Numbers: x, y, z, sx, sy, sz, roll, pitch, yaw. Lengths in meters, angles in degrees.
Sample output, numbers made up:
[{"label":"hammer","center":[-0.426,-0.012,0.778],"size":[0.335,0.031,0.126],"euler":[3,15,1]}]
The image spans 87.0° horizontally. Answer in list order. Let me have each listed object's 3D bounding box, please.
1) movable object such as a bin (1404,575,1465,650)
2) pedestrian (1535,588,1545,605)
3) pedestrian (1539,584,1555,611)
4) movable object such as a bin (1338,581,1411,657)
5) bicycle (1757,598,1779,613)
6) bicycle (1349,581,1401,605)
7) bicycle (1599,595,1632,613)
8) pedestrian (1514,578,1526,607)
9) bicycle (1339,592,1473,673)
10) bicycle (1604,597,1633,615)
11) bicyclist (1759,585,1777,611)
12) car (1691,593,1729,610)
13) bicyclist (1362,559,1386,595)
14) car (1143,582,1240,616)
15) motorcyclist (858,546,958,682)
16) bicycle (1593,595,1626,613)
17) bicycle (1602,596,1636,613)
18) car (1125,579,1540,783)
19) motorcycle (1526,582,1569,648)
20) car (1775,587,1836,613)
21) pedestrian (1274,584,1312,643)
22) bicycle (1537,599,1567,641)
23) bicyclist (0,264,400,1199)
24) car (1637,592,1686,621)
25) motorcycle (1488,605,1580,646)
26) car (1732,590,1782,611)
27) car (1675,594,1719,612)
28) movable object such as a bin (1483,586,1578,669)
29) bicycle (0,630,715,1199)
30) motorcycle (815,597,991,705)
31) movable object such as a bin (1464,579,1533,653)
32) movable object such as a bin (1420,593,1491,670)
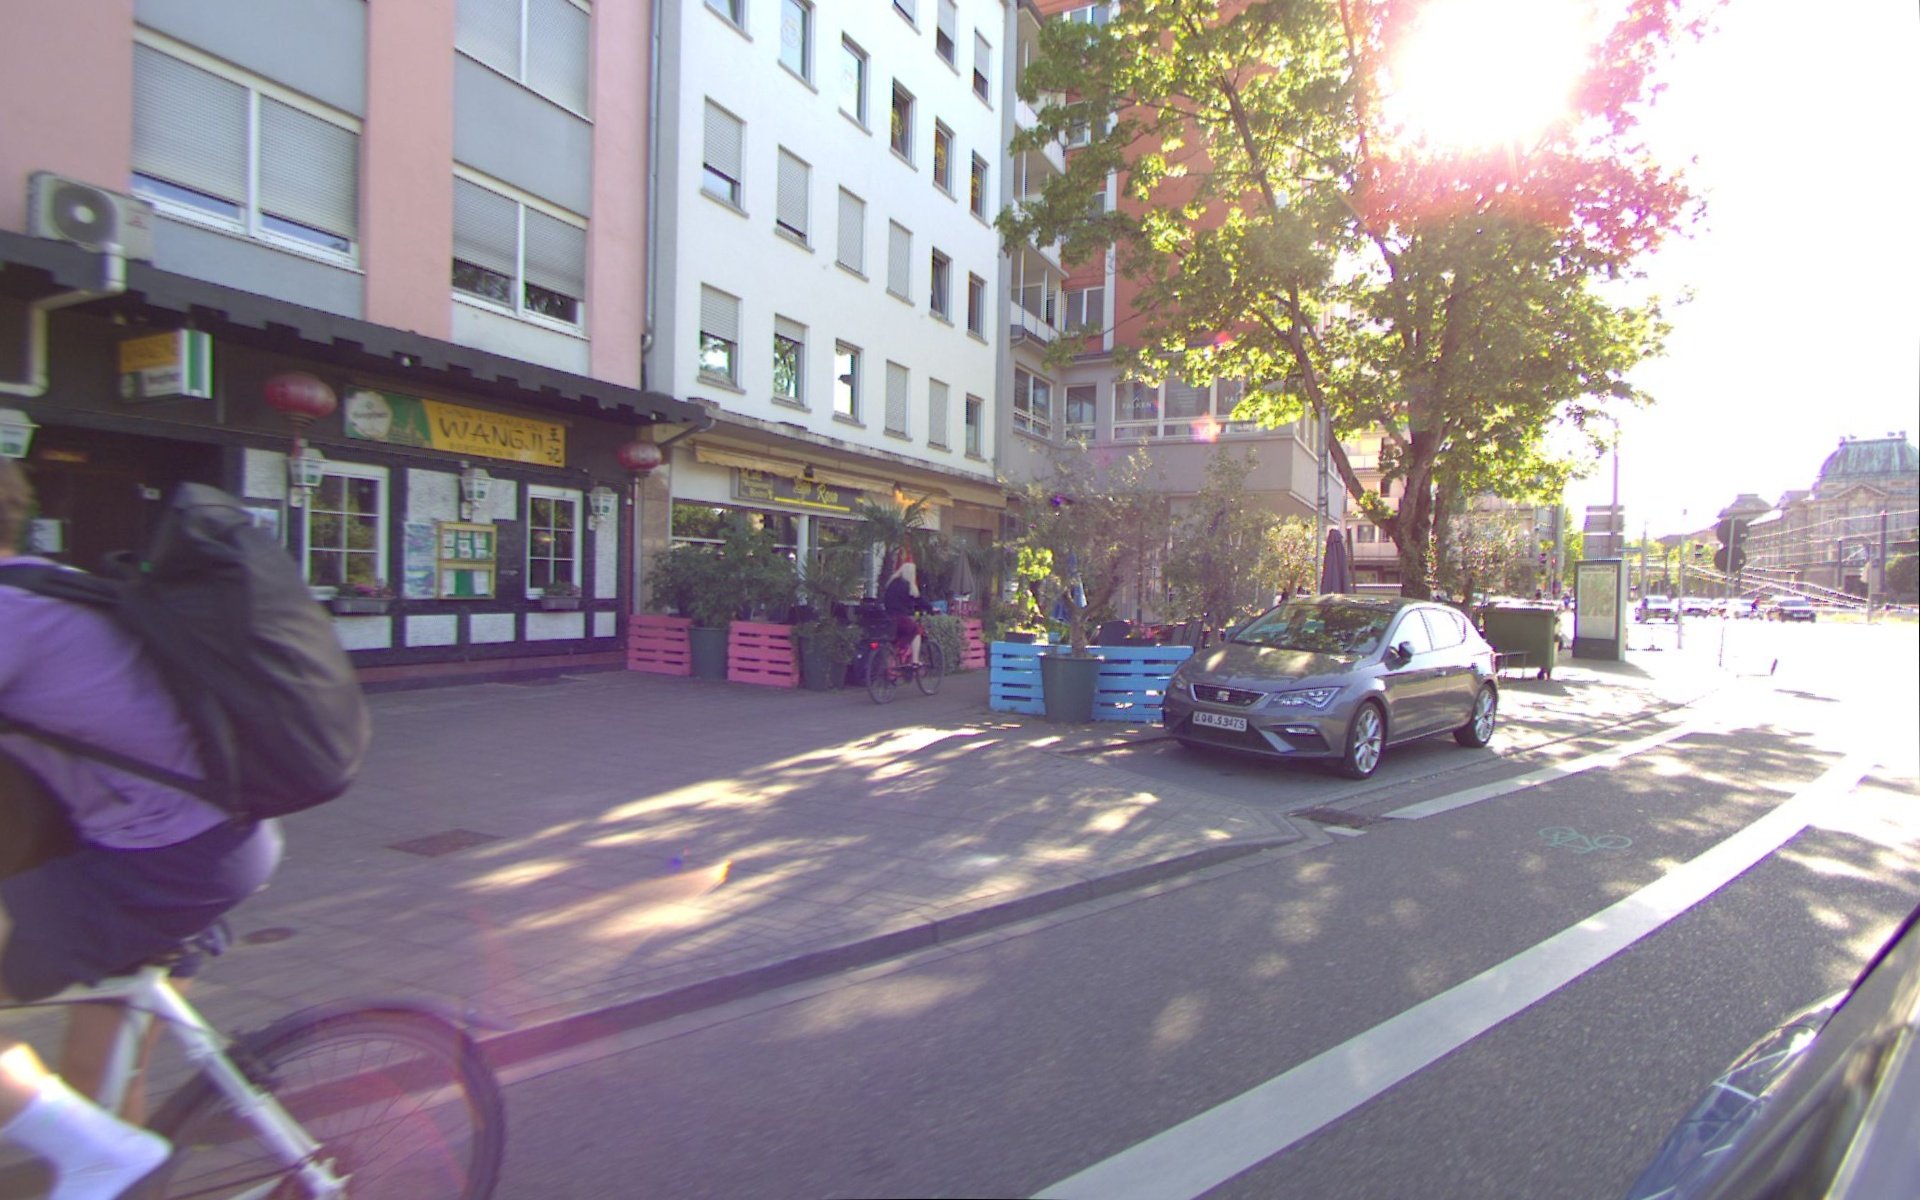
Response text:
[{"label":"movable object such as a bin","center":[11.313,0.269,24.141],"size":[1.247,1.730,0.937],"euler":[1,2,26]},{"label":"pedestrian","center":[58.265,-0.389,101.628],"size":[0.769,1.672,0.662],"euler":[1,0,38]},{"label":"pedestrian","center":[41.516,-0.204,71.598],"size":[0.857,1.858,1.200],"euler":[1,0,26]},{"label":"movable object such as a bin","center":[8.020,0.347,19.562],"size":[1.205,1.408,0.950],"euler":[-1,0,28]},{"label":"bicycle","center":[55.176,0.372,69.140],"size":[0.623,0.951,1.893],"euler":[-1,1,21]},{"label":"bicycle","center":[18.470,-0.321,45.064],"size":[2.126,1.013,0.854],"euler":[-1,0,25]},{"label":"bicycle","center":[42.168,0.240,65.111],"size":[1.737,1.113,0.396],"euler":[2,1,25]},{"label":"pedestrian","center":[34.985,-0.479,63.211],"size":[0.565,1.796,0.656],"euler":[1,0,34]},{"label":"bicycle","center":[7.637,0.520,17.464],"size":[0.880,1.266,2.174],"euler":[1,1,-17]},{"label":"bicycle","center":[41.122,0.365,63.188],"size":[1.421,1.023,0.407],"euler":[3,2,29]},{"label":"bicyclist","center":[55.162,-0.123,69.122],"size":[0.695,1.751,0.848],"euler":[-1,0,21]},{"label":"car","center":[64.014,0.108,86.433],"size":[1.841,1.308,4.059],"euler":[1,1,26]},{"label":"bicyclist","center":[18.437,-1.028,45.078],"size":[0.925,1.580,0.934],"euler":[-1,0,25]},{"label":"car","center":[10.595,-0.074,46.361],"size":[4.120,1.444,1.564],"euler":[1,3,25]},{"label":"motorcyclist","center":[-0.633,0.159,12.269],"size":[0.896,1.570,0.794],"euler":[-1,0,41]},{"label":"bicycle","center":[42.898,0.268,66.891],"size":[1.757,1.068,0.411],"euler":[3,2,26]},{"label":"bicycle","center":[41.716,0.290,64.068],"size":[1.686,1.024,0.407],"euler":[2,2,24]},{"label":"car","center":[3.692,0.588,9.573],"size":[4.504,1.456,1.768],"euler":[0,2,-42]},{"label":"motorcycle","center":[14.536,0.349,25.001],"size":[0.799,1.559,2.515],"euler":[0,0,32]},{"label":"car","center":[53.711,0.000,64.383],"size":[1.980,1.556,4.318],"euler":[-1,1,26]},{"label":"pedestrian","center":[10.697,0.425,32.514],"size":[0.876,1.868,0.827],"euler":[-1,0,-41]},{"label":"bicycle","center":[17.189,0.570,29.422],"size":[0.471,1.131,2.103],"euler":[-1,1,23]},{"label":"bicyclist","center":[-1.500,0.358,1.546],"size":[0.970,1.502,1.040],"euler":[-1,0,-38]},{"label":"car","center":[44.838,0.382,64.754],"size":[1.883,1.708,4.082],"euler":[1,1,25]},{"label":"motorcycle","center":[15.221,0.660,26.902],"size":[2.083,1.034,0.755],"euler":[0,0,28]},{"label":"car","center":[58.044,0.046,73.753],"size":[1.980,1.447,4.096],"euler":[-1,1,26]},{"label":"car","center":[56.941,0.208,78.246],"size":[1.968,1.308,4.354],"euler":[1,1,26]},{"label":"movable object such as a bin","center":[10.231,0.466,18.149],"size":[1.281,1.409,0.907],"euler":[-1,0,45]},{"label":"bicycle","center":[-1.577,0.675,1.501],"size":[2.188,1.150,0.887],"euler":[-1,1,-38]},{"label":"motorcycle","center":[-0.637,0.561,12.274],"size":[0.775,1.140,2.264],"euler":[-1,1,41]},{"label":"movable object such as a bin","center":[12.451,0.348,23.458],"size":[1.371,1.660,0.999],"euler":[0,1,26]},{"label":"movable object such as a bin","center":[9.321,0.574,19.039],"size":[1.165,1.373,0.918],"euler":[-1,0,28]}]
